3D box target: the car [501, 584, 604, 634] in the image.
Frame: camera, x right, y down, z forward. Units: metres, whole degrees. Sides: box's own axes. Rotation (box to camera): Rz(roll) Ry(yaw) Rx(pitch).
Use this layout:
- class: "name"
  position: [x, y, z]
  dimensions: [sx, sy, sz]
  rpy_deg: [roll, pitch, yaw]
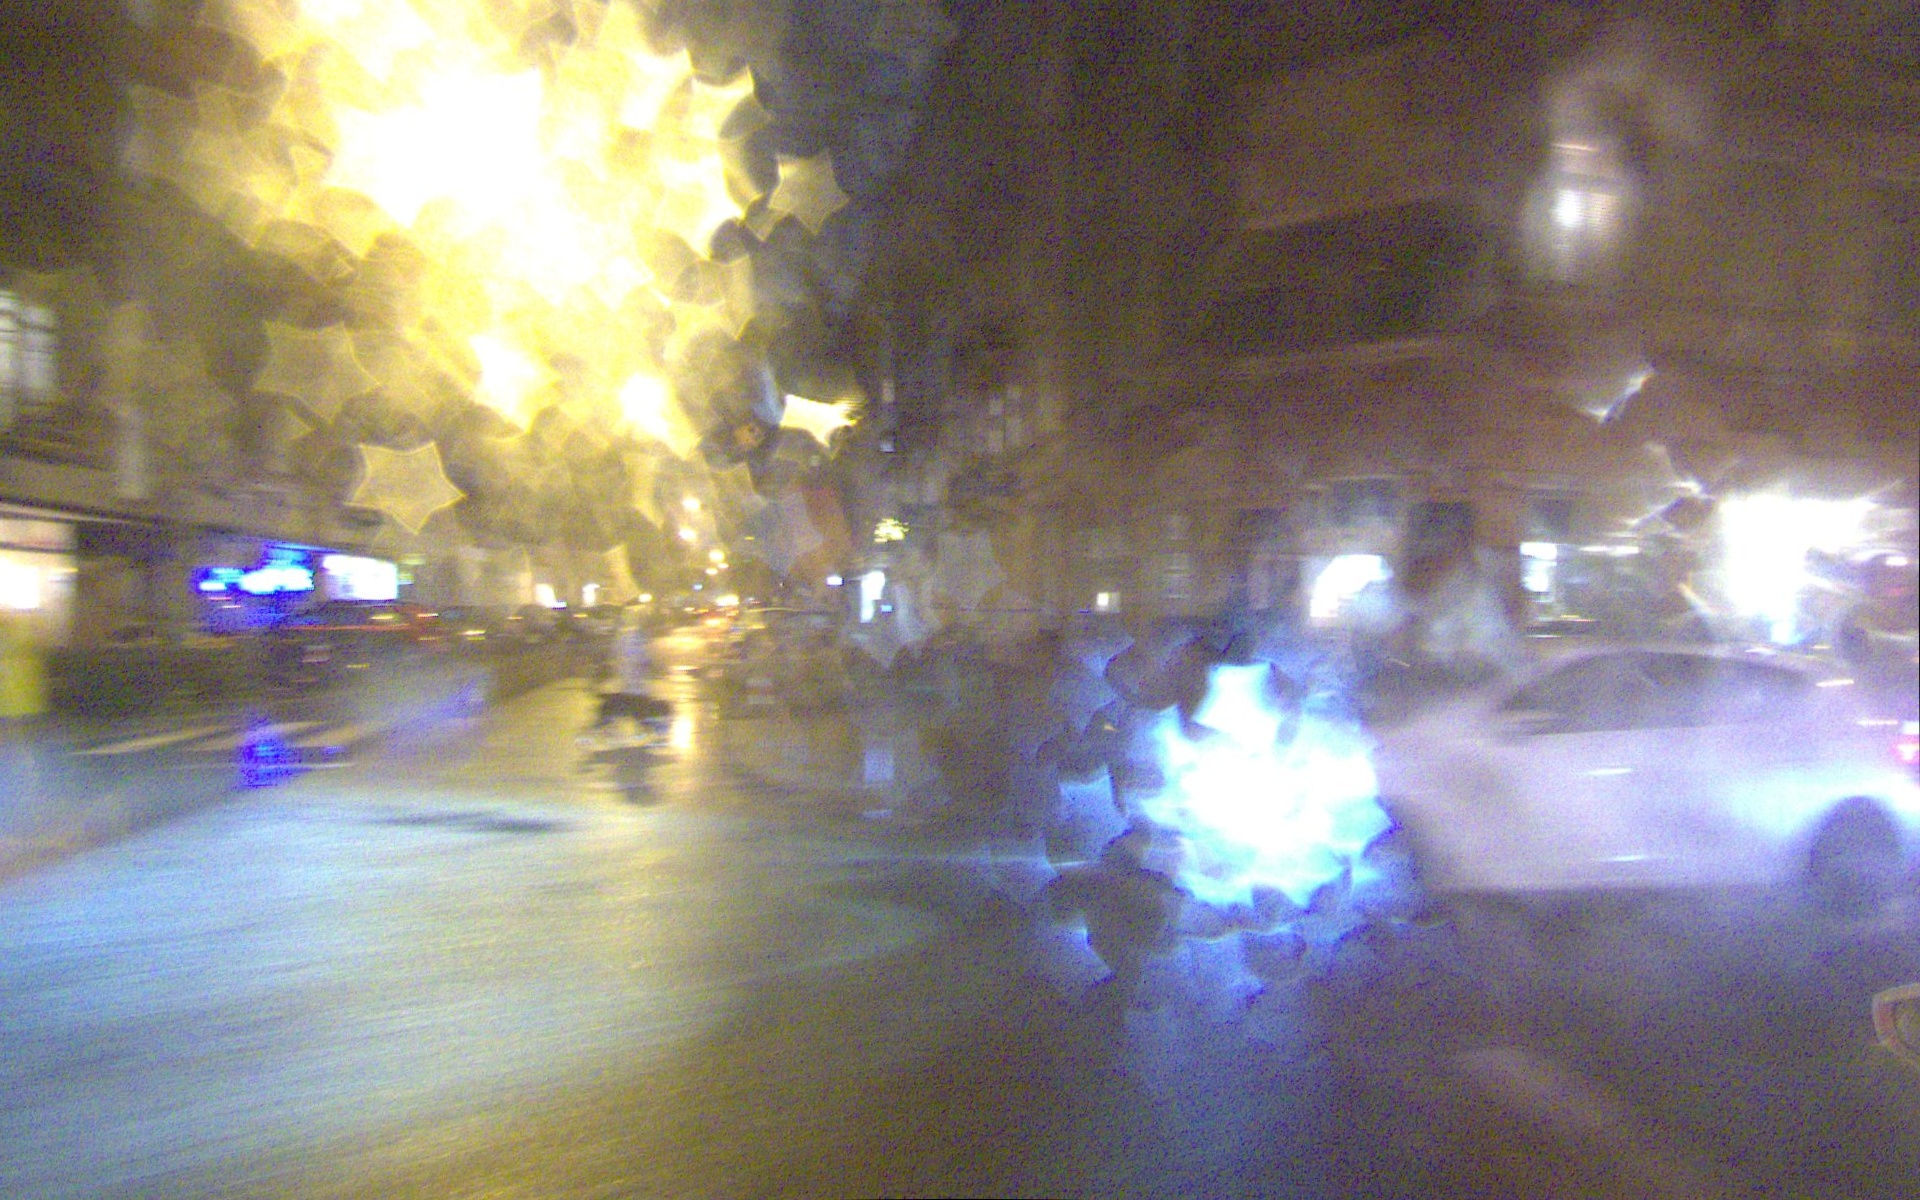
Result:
- class: "car"
  position: [-17.497, 0.380, 43.345]
  dimensions: [3.937, 2.041, 1.992]
  rpy_deg: [1, 1, -18]

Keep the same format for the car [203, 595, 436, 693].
- class: "car"
  position: [-14.267, 0.963, 22.622]
  dimensions: [3.927, 2.041, 1.997]
  rpy_deg: [1, 1, -9]

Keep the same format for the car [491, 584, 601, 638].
- class: "car"
  position: [-16.700, 0.420, 40.715]
  dimensions: [3.937, 2.041, 1.992]
  rpy_deg: [0, 2, -18]

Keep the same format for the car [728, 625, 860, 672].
- class: "car"
  position: [-4.767, 1.373, 28.935]
  dimensions: [3.654, 1.292, 1.589]
  rpy_deg: [0, -2, -11]

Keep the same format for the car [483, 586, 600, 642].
- class: "car"
  position: [-15.926, 0.509, 38.460]
  dimensions: [3.937, 2.041, 1.992]
  rpy_deg: [0, 1, -18]

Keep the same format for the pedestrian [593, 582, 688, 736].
- class: "pedestrian"
  position: [-4.028, 0.744, 12.719]
  dimensions: [0.928, 1.882, 0.799]
  rpy_deg: [0, -2, 0]

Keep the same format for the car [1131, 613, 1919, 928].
- class: "car"
  position: [3.125, 0.817, 5.667]
  dimensions: [3.993, 1.446, 1.567]
  rpy_deg: [0, -2, -6]

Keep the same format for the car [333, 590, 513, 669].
- class: "car"
  position: [-14.766, 0.790, 27.845]
  dimensions: [3.927, 2.041, 1.997]
  rpy_deg: [1, 1, -9]

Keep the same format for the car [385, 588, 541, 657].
- class: "car"
  position: [-15.444, 0.681, 31.409]
  dimensions: [3.927, 2.041, 1.997]
  rpy_deg: [1, 1, -9]

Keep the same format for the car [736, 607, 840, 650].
- class: "car"
  position: [-5.794, 0.954, 33.945]
  dimensions: [3.400, 1.422, 1.589]
  rpy_deg: [0, -2, -11]

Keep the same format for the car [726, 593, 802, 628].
- class: "car"
  position: [-9.574, 0.519, 49.232]
  dimensions: [3.607, 1.649, 1.588]
  rpy_deg: [0, -2, -11]

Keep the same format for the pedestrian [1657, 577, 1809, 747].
- class: "pedestrian"
  position: [8.441, 0.653, 10.998]
  dimensions: [0.997, 1.790, 0.805]
  rpy_deg: [1, 1, -7]

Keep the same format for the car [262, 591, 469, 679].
- class: "car"
  position: [-14.588, 0.836, 24.866]
  dimensions: [3.927, 2.041, 1.997]
  rpy_deg: [1, 1, -9]
